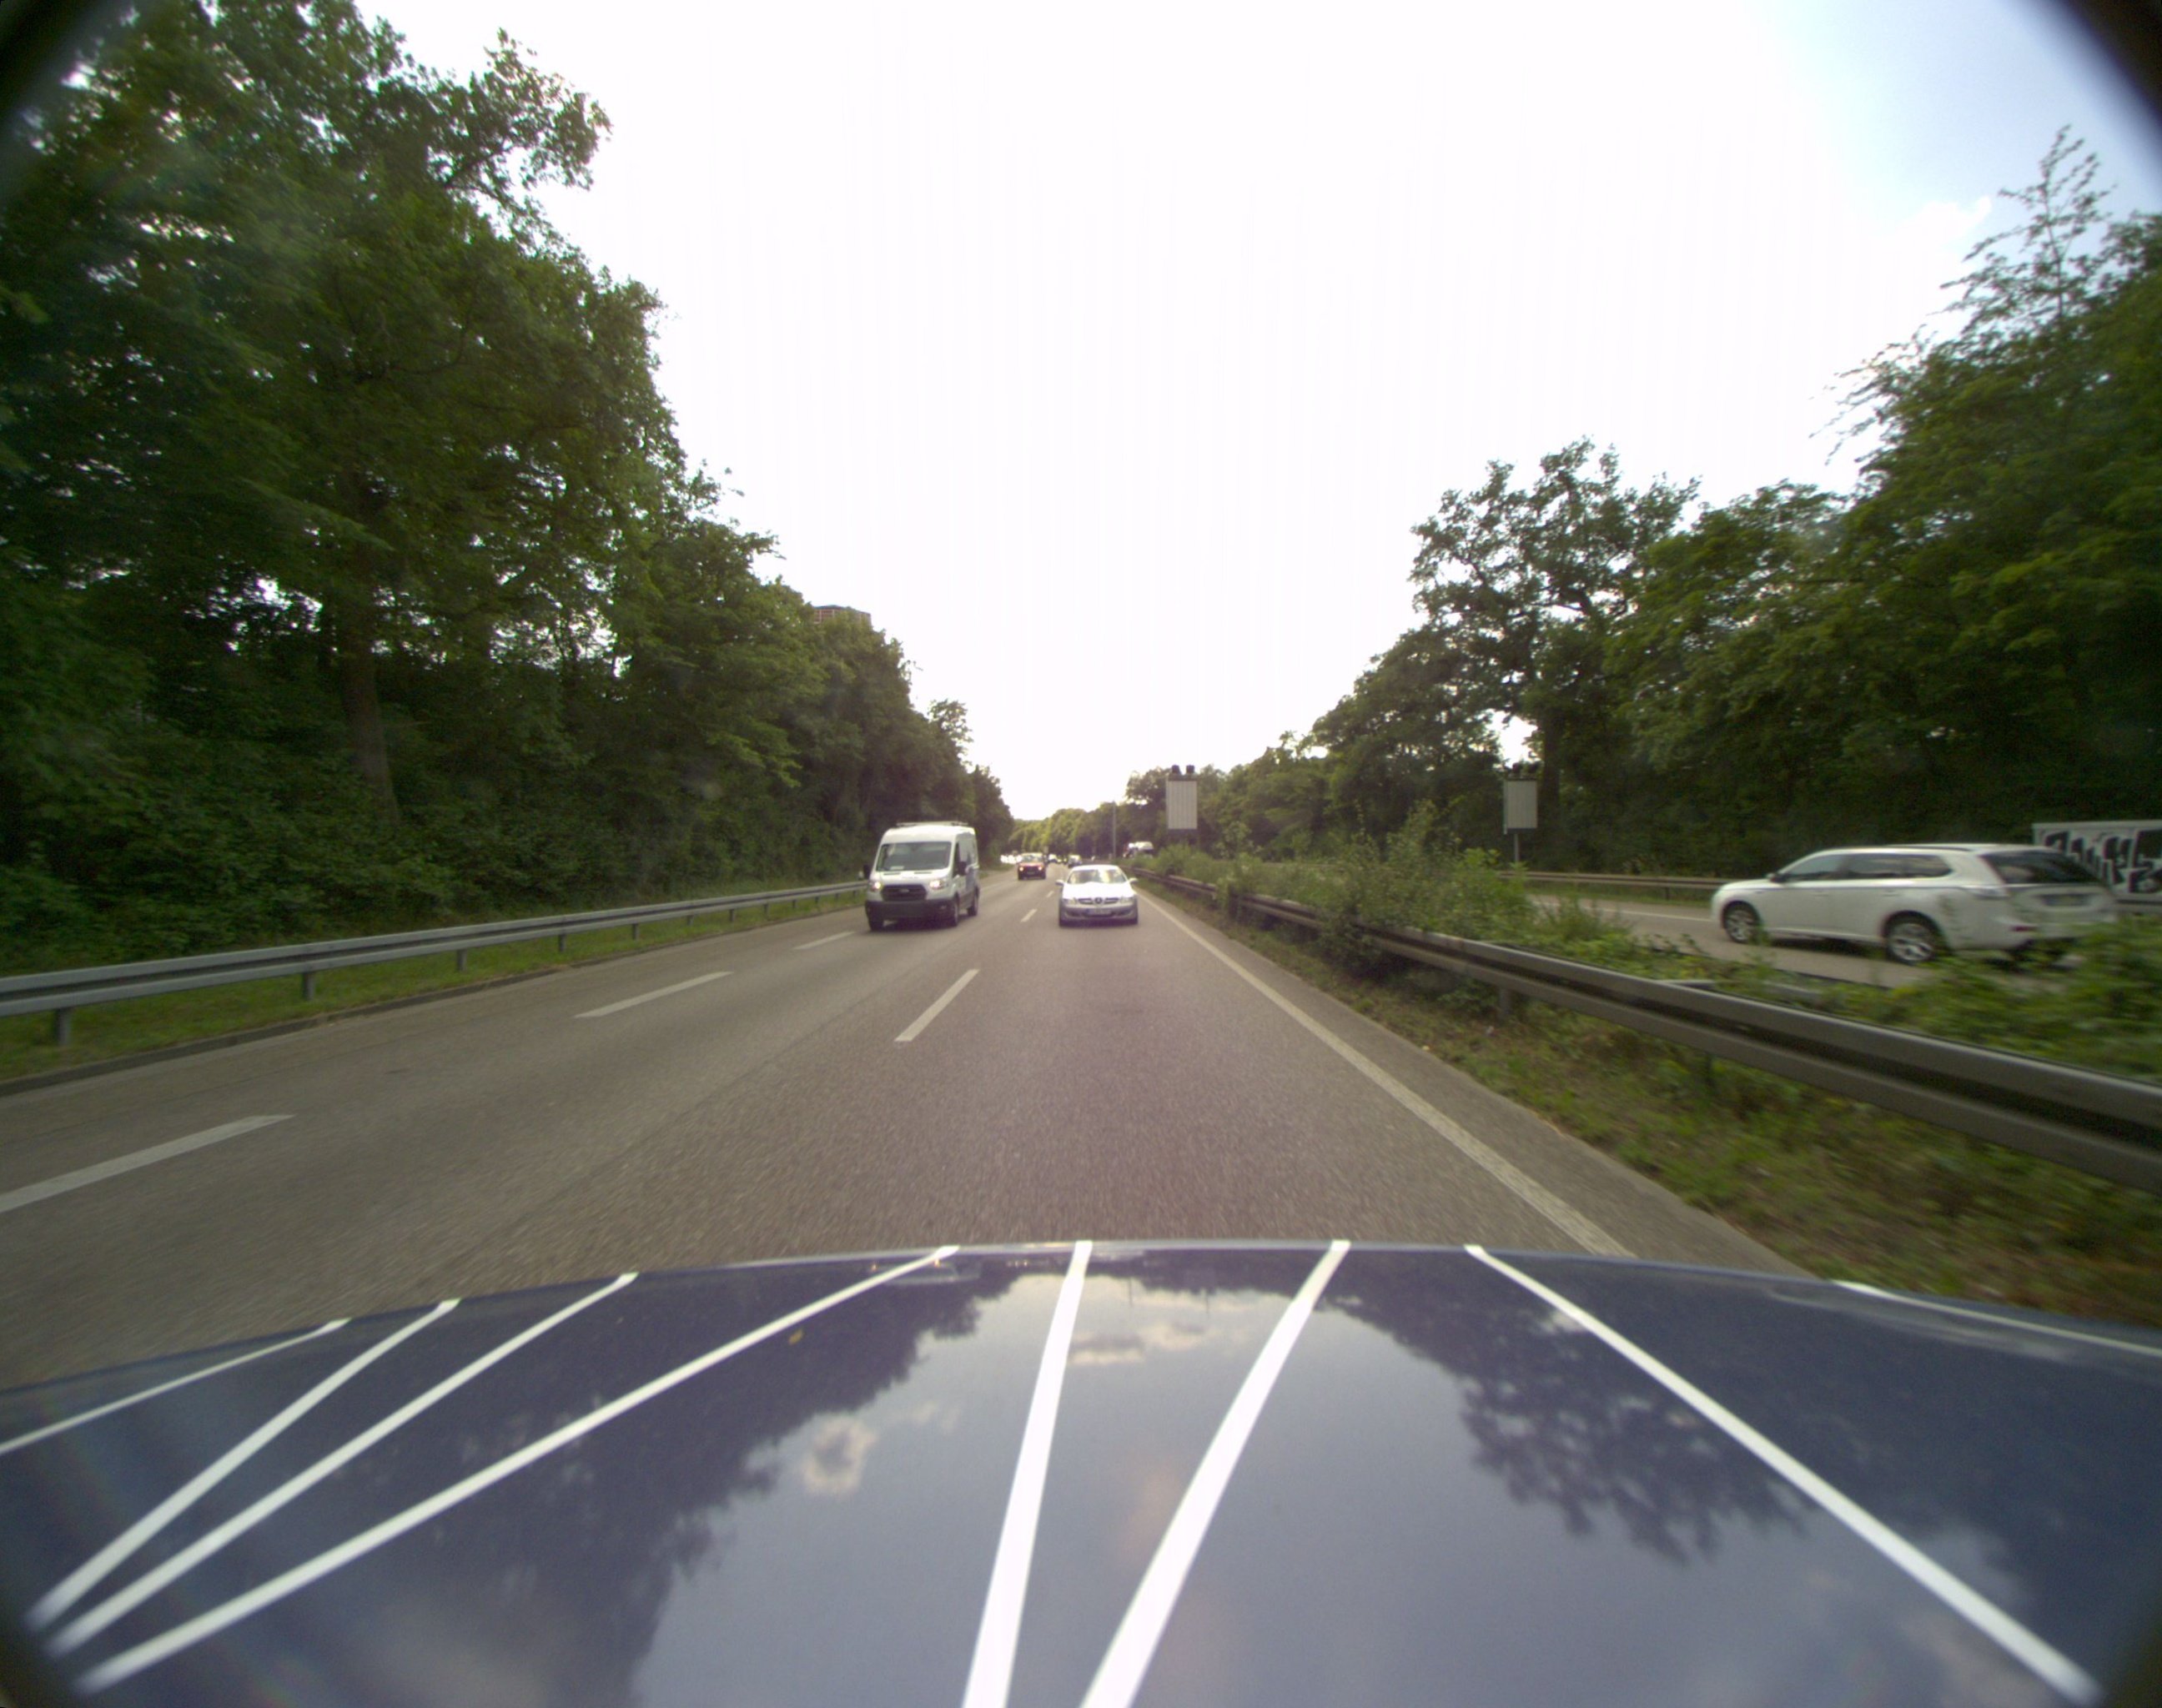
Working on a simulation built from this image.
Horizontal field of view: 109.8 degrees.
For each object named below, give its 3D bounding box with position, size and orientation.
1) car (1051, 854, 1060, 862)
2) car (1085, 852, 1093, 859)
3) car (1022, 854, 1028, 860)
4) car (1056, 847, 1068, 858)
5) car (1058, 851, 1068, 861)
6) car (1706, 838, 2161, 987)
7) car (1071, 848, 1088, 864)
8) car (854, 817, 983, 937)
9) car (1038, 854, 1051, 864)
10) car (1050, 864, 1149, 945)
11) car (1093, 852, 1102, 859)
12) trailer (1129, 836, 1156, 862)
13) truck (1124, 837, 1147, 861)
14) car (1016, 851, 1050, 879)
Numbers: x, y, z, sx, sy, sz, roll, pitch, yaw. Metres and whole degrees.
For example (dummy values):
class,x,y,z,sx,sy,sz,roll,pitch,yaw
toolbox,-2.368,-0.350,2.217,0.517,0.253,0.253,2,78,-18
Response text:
class,x,y,z,sx,sy,sz,roll,pitch,yaw
car,-5.390,0.798,158.282,1.699,1.579,4.000,-1,0,0
car,1.851,0.390,183.127,1.710,1.559,4.030,-1,0,-3
car,-16.556,0.854,224.400,1.786,1.513,3.999,-1,0,-2
car,-3.561,-0.264,140.296,1.999,2.002,3.998,-1,0,-5
car,-2.905,0.316,124.629,1.473,1.560,3.293,-1,0,-3
car,12.220,0.679,11.328,1.790,1.728,4.880,-1,0,0
car,-0.213,0.270,98.271,1.998,2.002,4.000,-1,0,3
car,-3.860,0.482,19.099,2.104,2.493,5.278,-3,0,-1
car,-5.654,0.741,117.628,1.890,1.516,3.999,-1,0,-2
car,0.375,0.965,16.480,1.751,1.295,5.223,-2,0,1
car,3.288,0.309,153.800,1.678,1.542,4.262,-1,0,-2
trailer,9.579,-0.780,119.583,2.946,3.811,10.307,0,0,-2
truck,9.243,-0.858,129.854,2.963,3.833,10.320,0,0,-2
car,-3.381,0.752,54.190,1.908,1.795,4.395,-2,0,1
